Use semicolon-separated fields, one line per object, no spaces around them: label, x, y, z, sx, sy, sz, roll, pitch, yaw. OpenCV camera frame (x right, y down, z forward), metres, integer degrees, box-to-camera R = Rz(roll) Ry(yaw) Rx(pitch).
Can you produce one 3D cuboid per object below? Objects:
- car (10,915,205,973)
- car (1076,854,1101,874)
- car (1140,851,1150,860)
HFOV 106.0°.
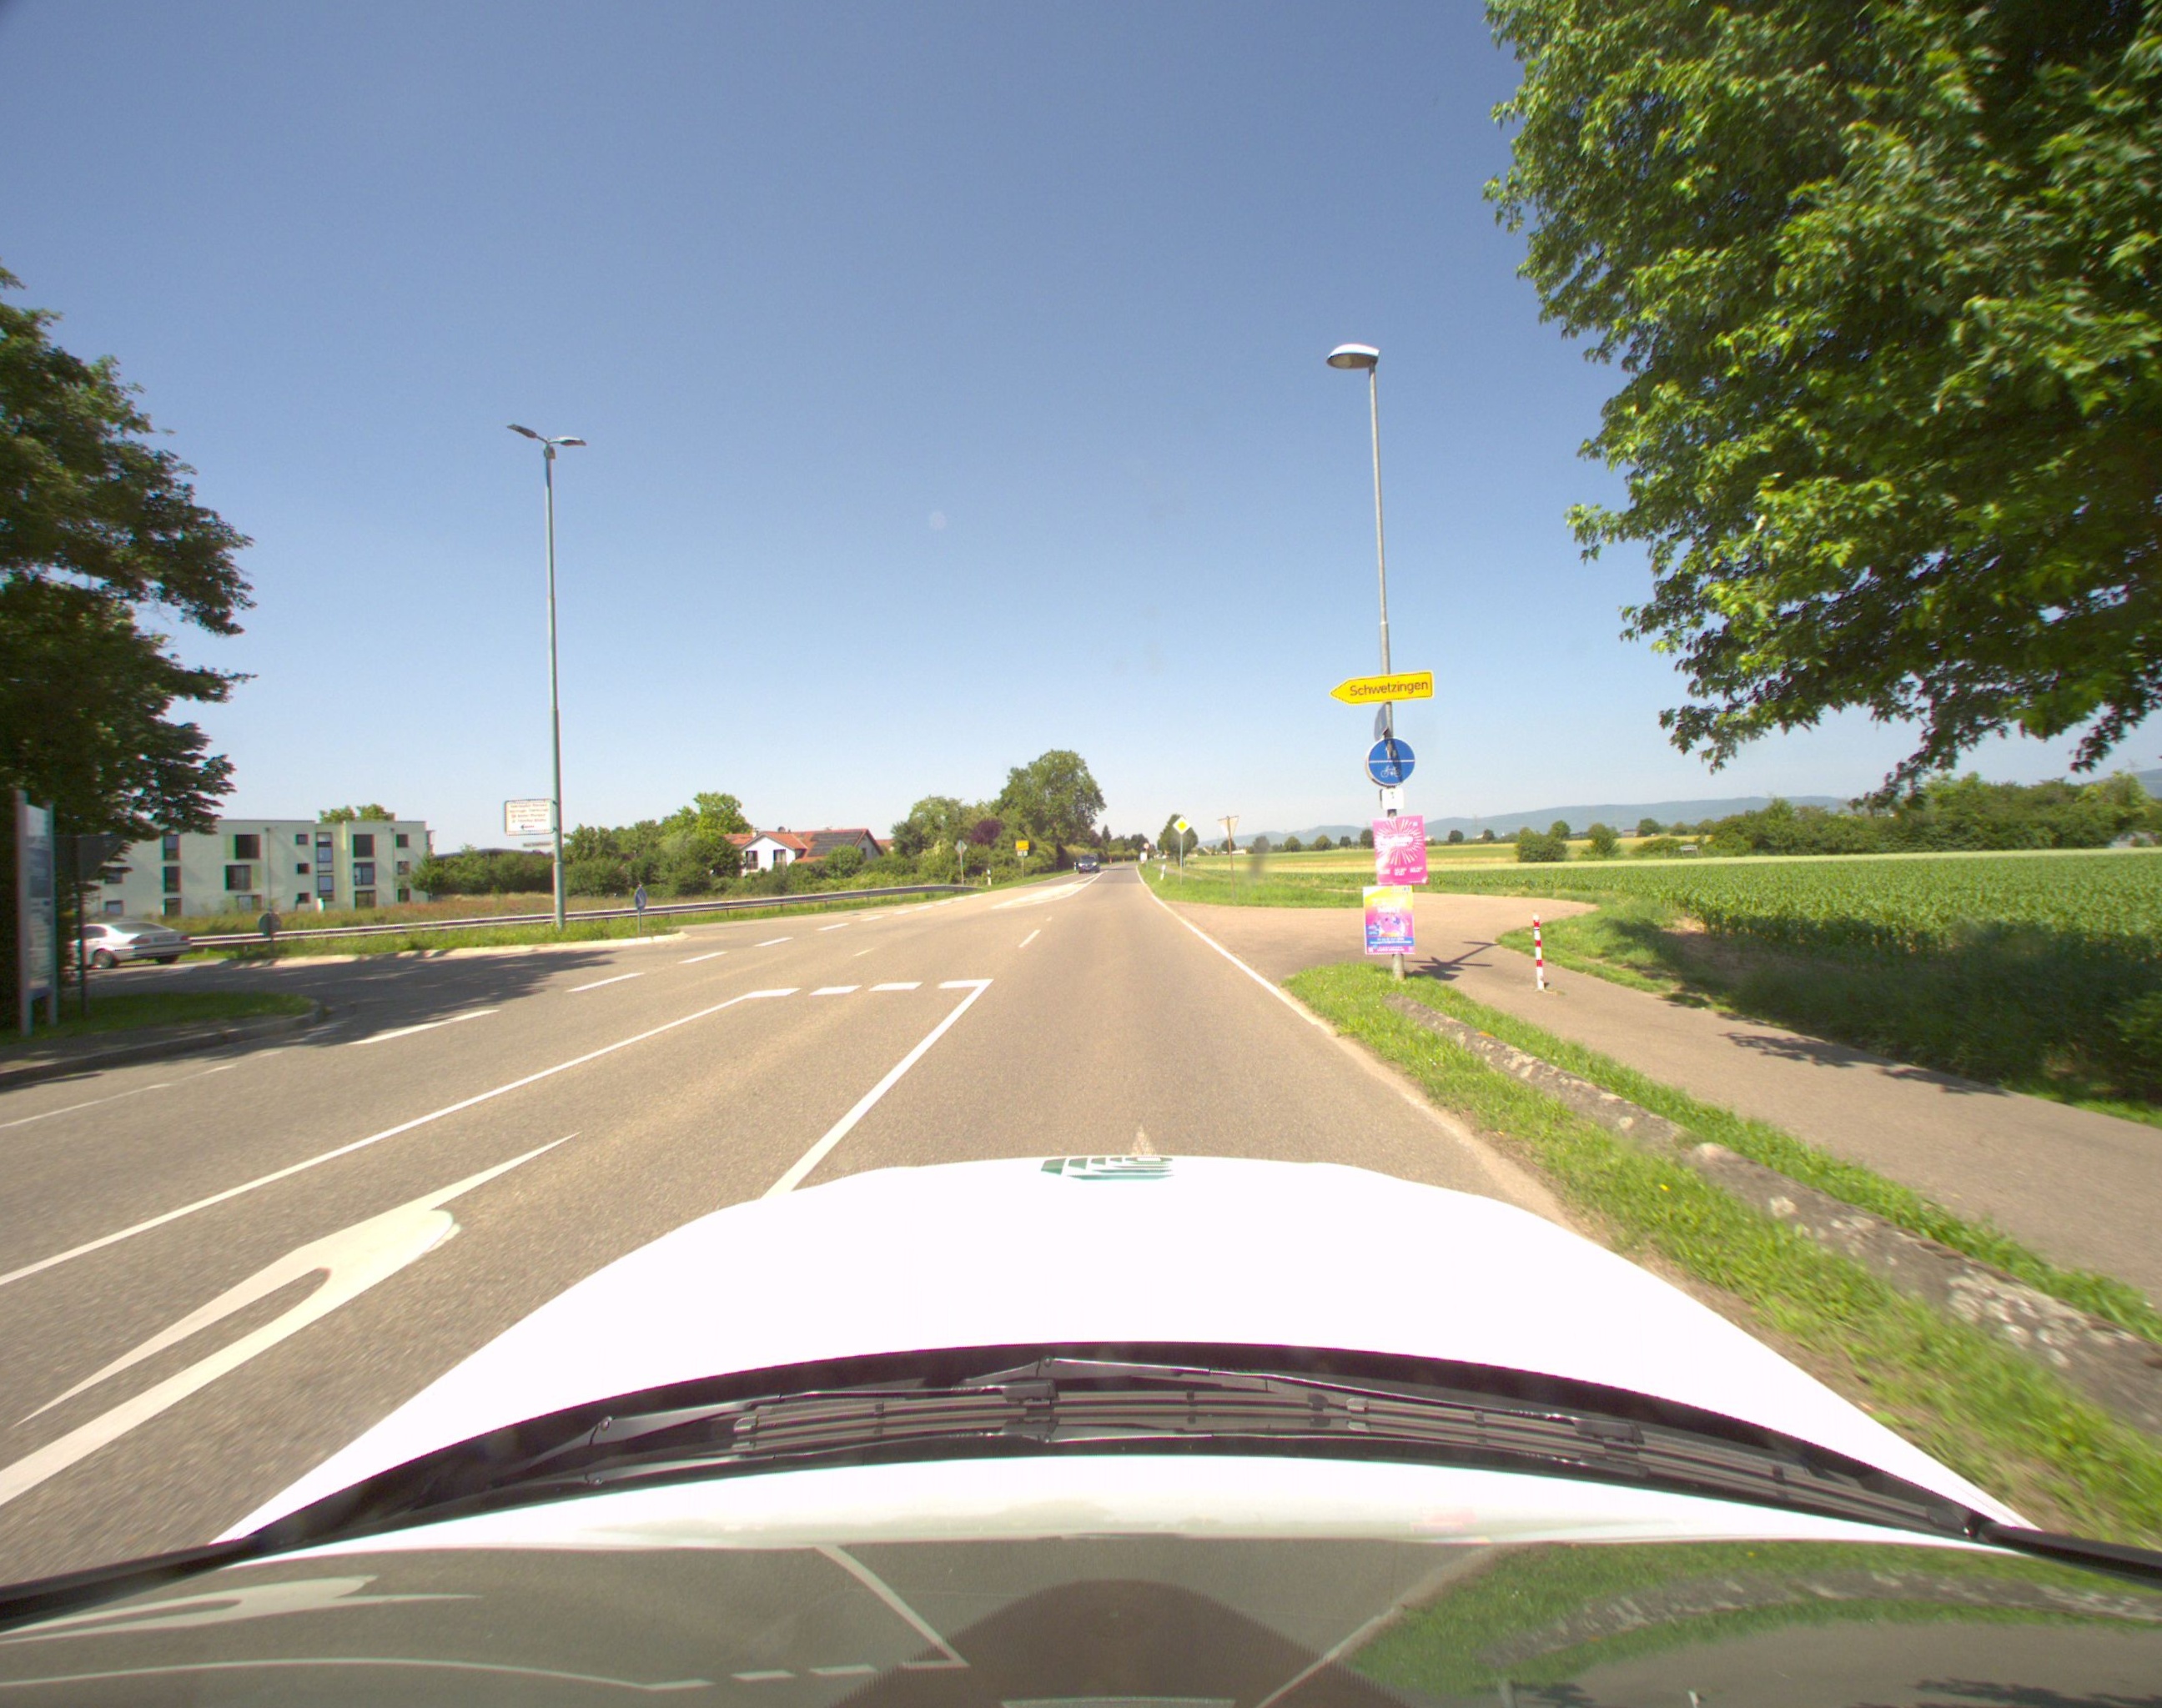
car;-30.489;2.807;25.567;4.380;1.471;1.644;-3;0;5
car;0.824;1.005;85.003;2.134;1.951;5.253;-3;0;4
car;19.900;0.457;251.523;1.977;2.651;4.020;-3;0;19
